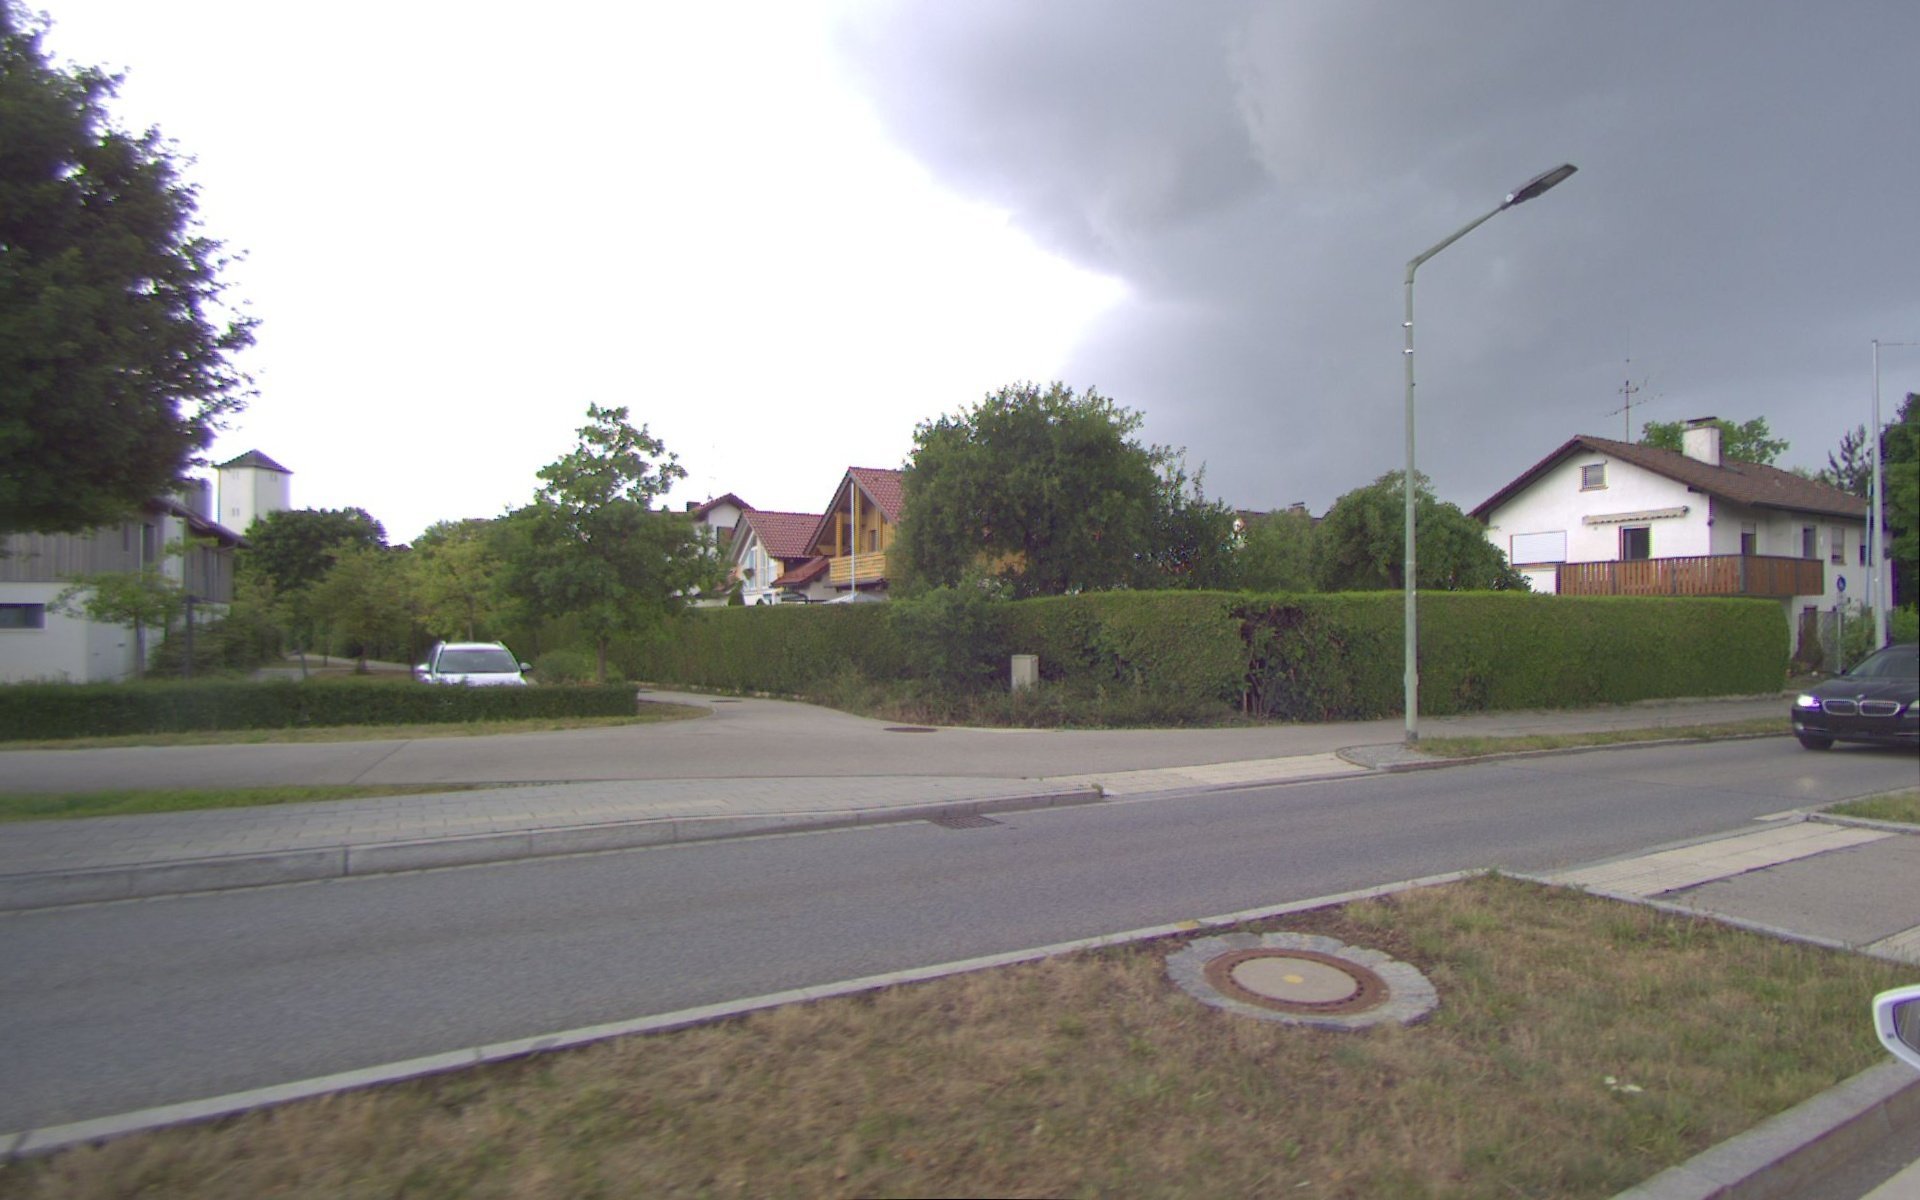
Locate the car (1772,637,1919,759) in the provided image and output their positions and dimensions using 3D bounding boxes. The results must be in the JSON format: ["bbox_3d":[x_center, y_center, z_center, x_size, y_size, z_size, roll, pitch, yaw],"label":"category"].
[{"bbox_3d":[13.403,1.253,13.783,4.438,1.473,1.913,1,-2,-27],"label":"car"}]

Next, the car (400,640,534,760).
[{"bbox_3d":[-9.770,1.833,19.765,1.978,2.040,3.966,1,-2,-32],"label":"car"}]
